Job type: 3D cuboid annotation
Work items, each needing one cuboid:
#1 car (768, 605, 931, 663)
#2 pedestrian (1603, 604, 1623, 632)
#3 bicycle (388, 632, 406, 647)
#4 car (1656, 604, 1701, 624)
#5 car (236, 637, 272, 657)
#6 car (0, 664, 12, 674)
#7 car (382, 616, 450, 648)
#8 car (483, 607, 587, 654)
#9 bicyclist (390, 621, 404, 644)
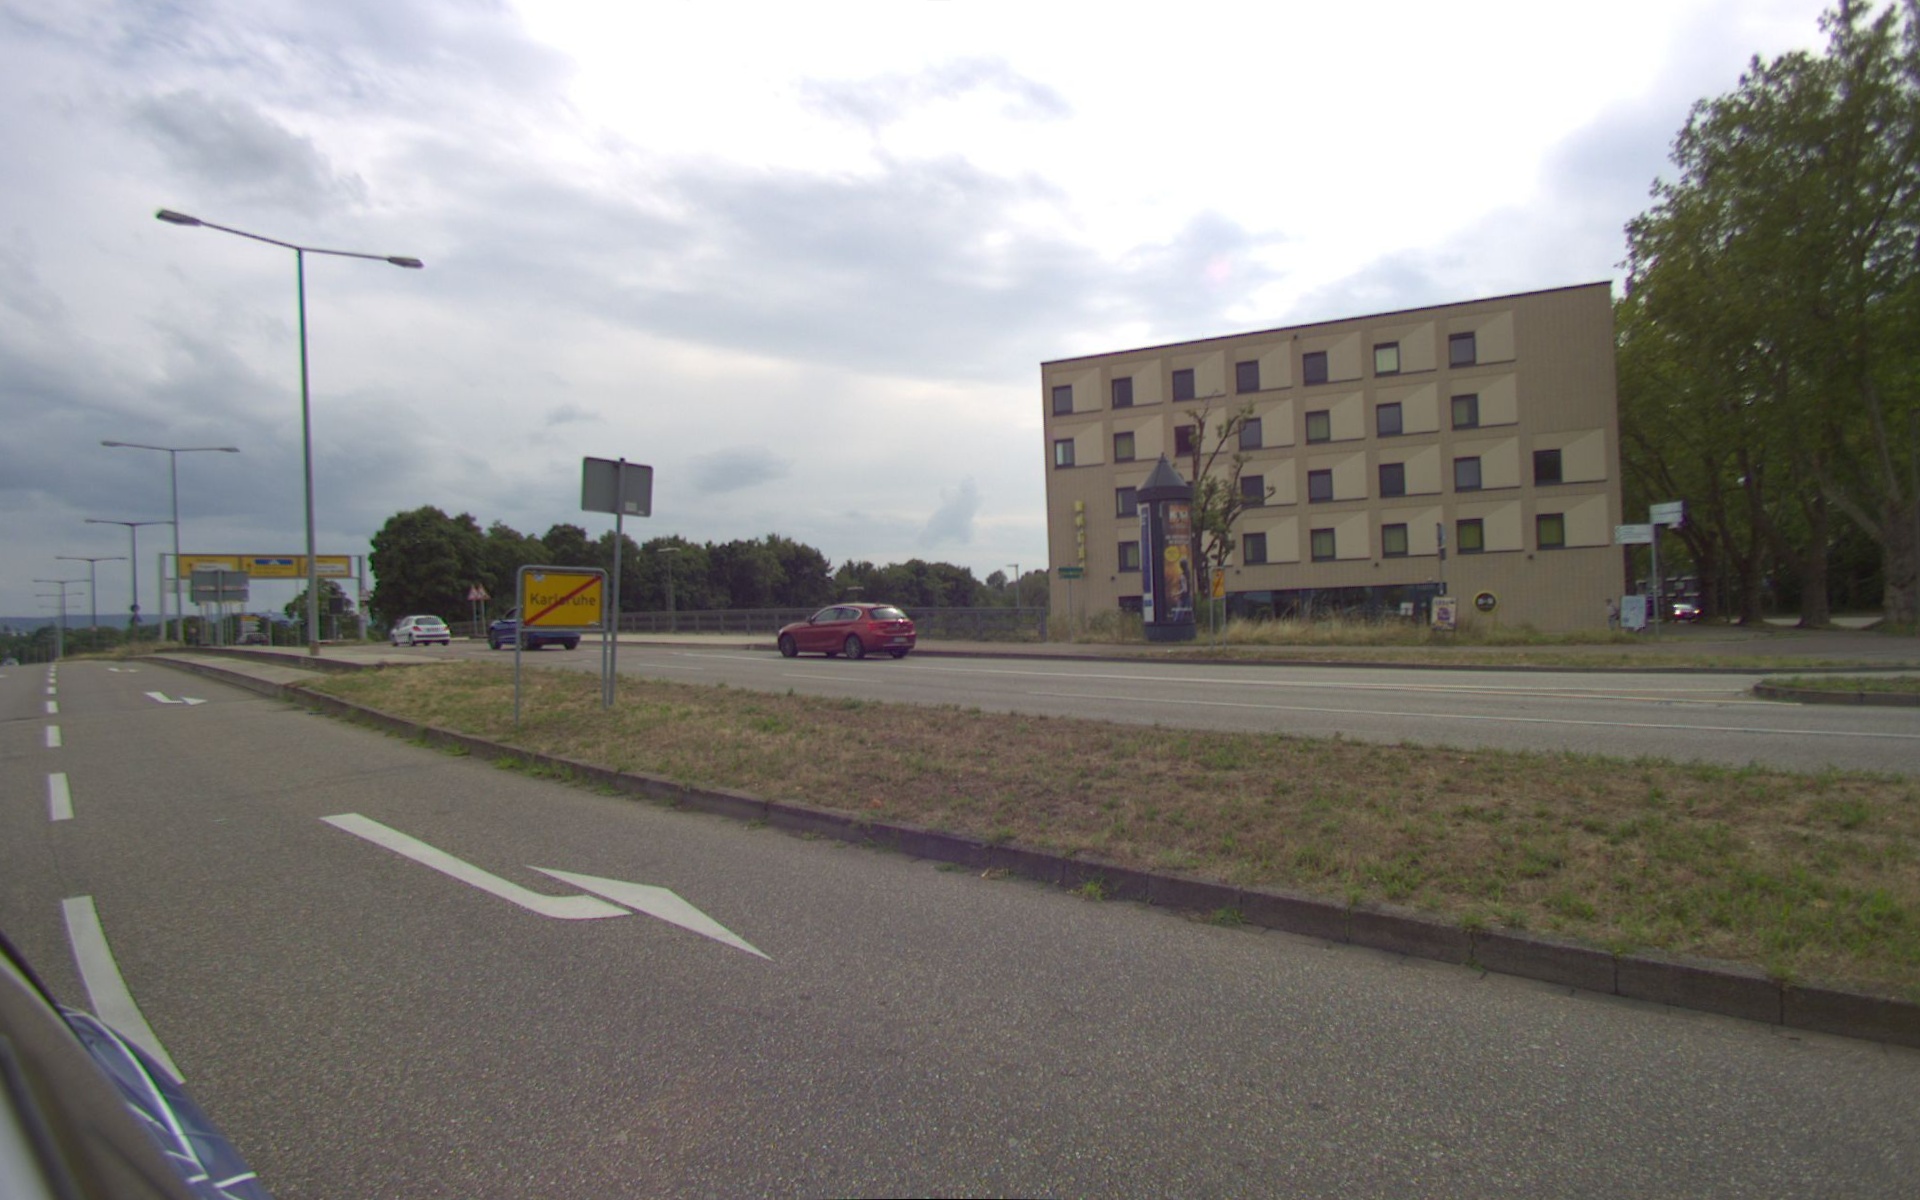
[{"bbox_3d":[-2.982,0.855,26.763,4.212,1.391,1.923,-1,-1,40],"label":"car"},{"bbox_3d":[26.718,0.738,41.413,0.458,1.133,0.501,-2,-1,10],"label":"pedestrian"},{"bbox_3d":[-42.624,2.979,76.587,0.676,1.061,1.996,-1,-1,-43],"label":"bicycle"},{"bbox_3d":[60.135,1.124,84.747,1.785,1.601,3.979,-2,-1,16],"label":"car"},{"bbox_3d":[-56.117,3.725,80.421,1.771,1.429,4.003,-1,-1,-44],"label":"car"},{"bbox_3d":[-151.094,10.870,159.886,1.834,1.353,4.004,-1,-1,-42],"label":"car"},{"bbox_3d":[-26.544,1.530,49.369,3.875,1.456,1.707,-1,0,42],"label":"car"},{"bbox_3d":[-15.467,1.071,36.705,4.466,1.572,1.921,-1,-1,45],"label":"car"},{"bbox_3d":[-42.598,2.470,76.565,0.676,1.684,0.848,-1,-1,-44],"label":"bicyclist"}]
